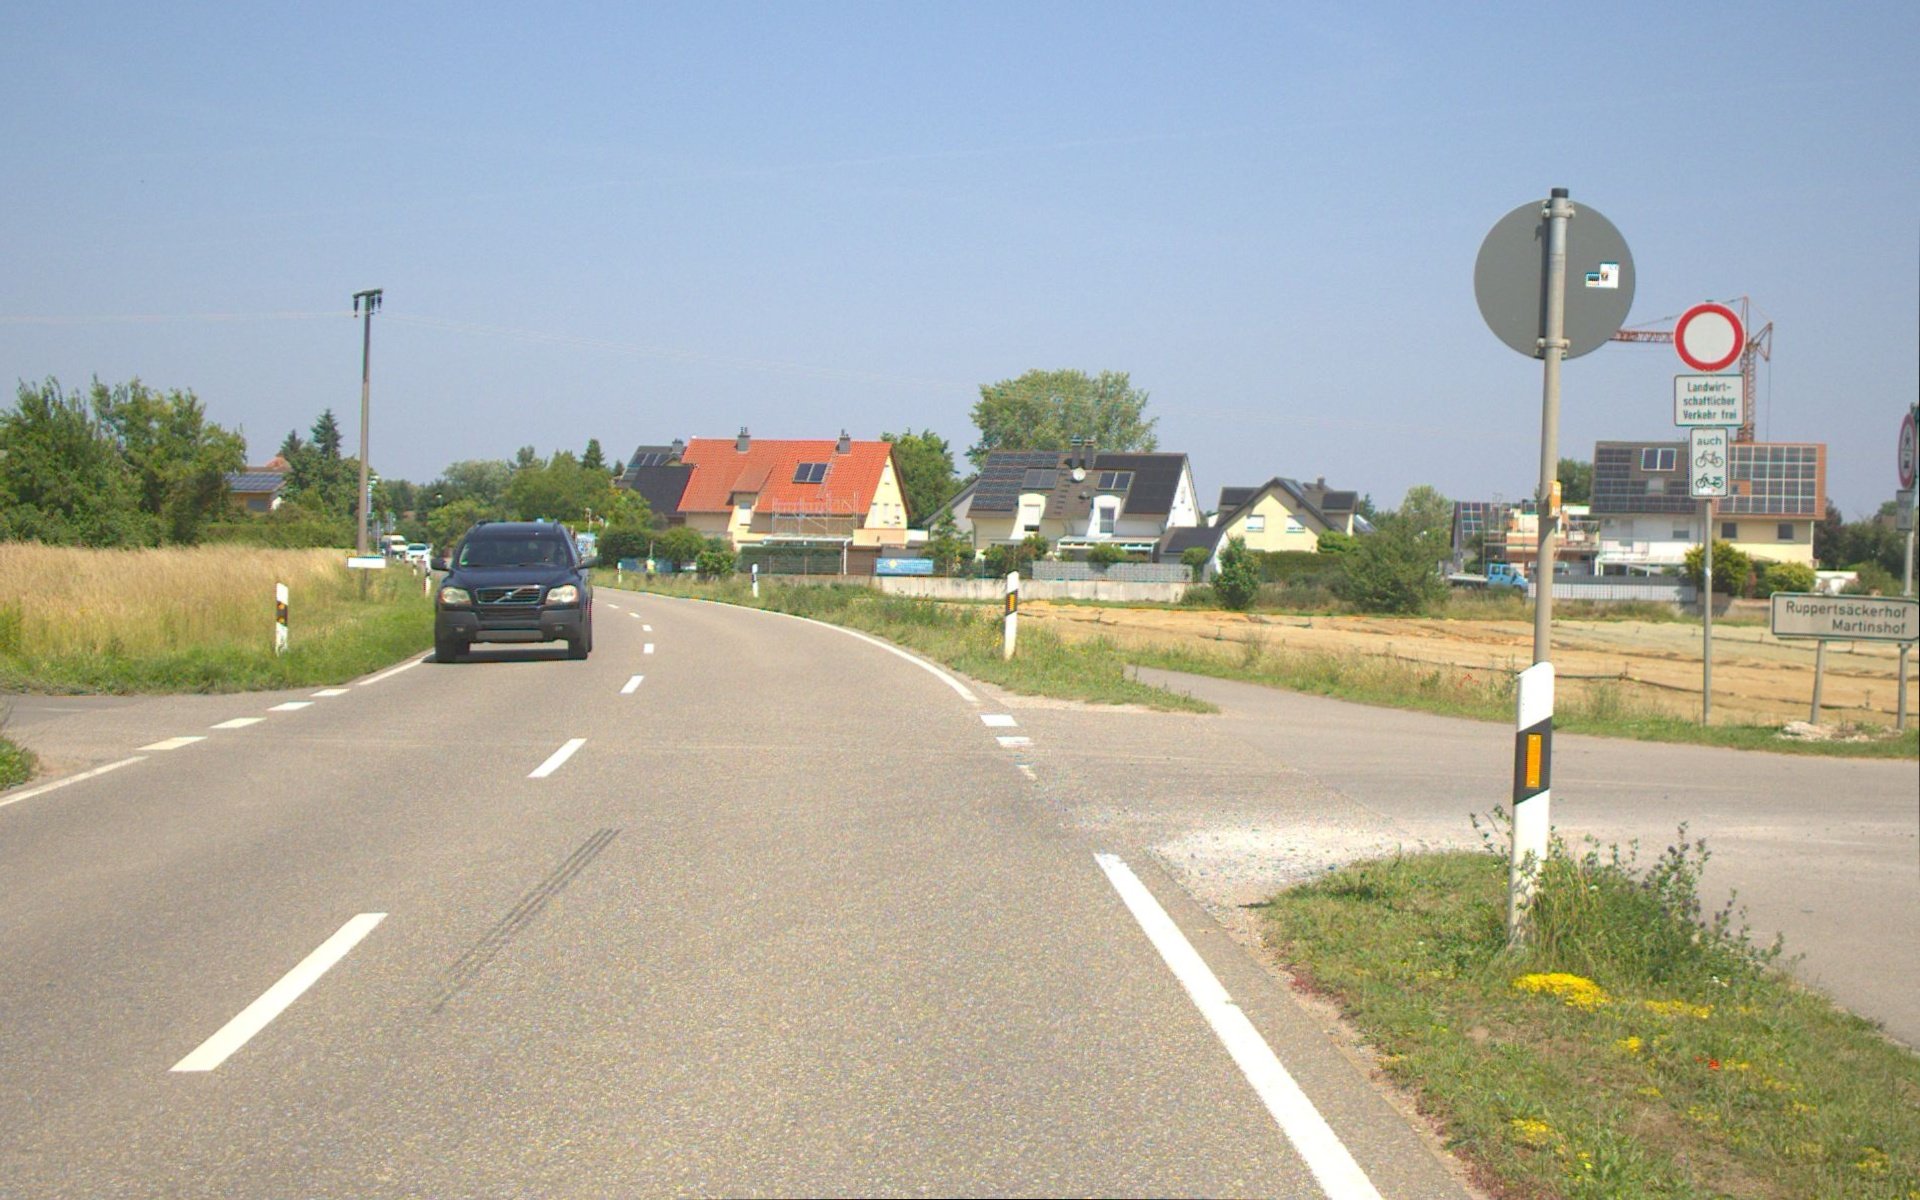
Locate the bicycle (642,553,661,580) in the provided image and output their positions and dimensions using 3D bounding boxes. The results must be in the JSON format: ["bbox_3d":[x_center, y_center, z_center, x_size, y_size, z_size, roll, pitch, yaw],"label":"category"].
[{"bbox_3d":[-14.261,-1.538,158.883,0.610,1.155,2.275,3,2,-11],"label":"bicycle"}]

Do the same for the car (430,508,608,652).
[{"bbox_3d":[-5.647,-0.300,44.597,1.933,1.745,5.205,0,1,-3],"label":"car"}]

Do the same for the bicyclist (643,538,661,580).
[{"bbox_3d":[-14.210,-1.911,158.676,0.644,1.883,0.861,3,1,-11],"label":"bicyclist"}]

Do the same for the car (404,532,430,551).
[{"bbox_3d":[-40.528,-4.378,256.443,1.791,1.404,4.187,0,1,-10],"label":"car"}]

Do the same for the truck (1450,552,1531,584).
[{"bbox_3d":[38.732,-2.355,250.981,5.557,2.222,2.213,1,1,15],"label":"truck"}]
